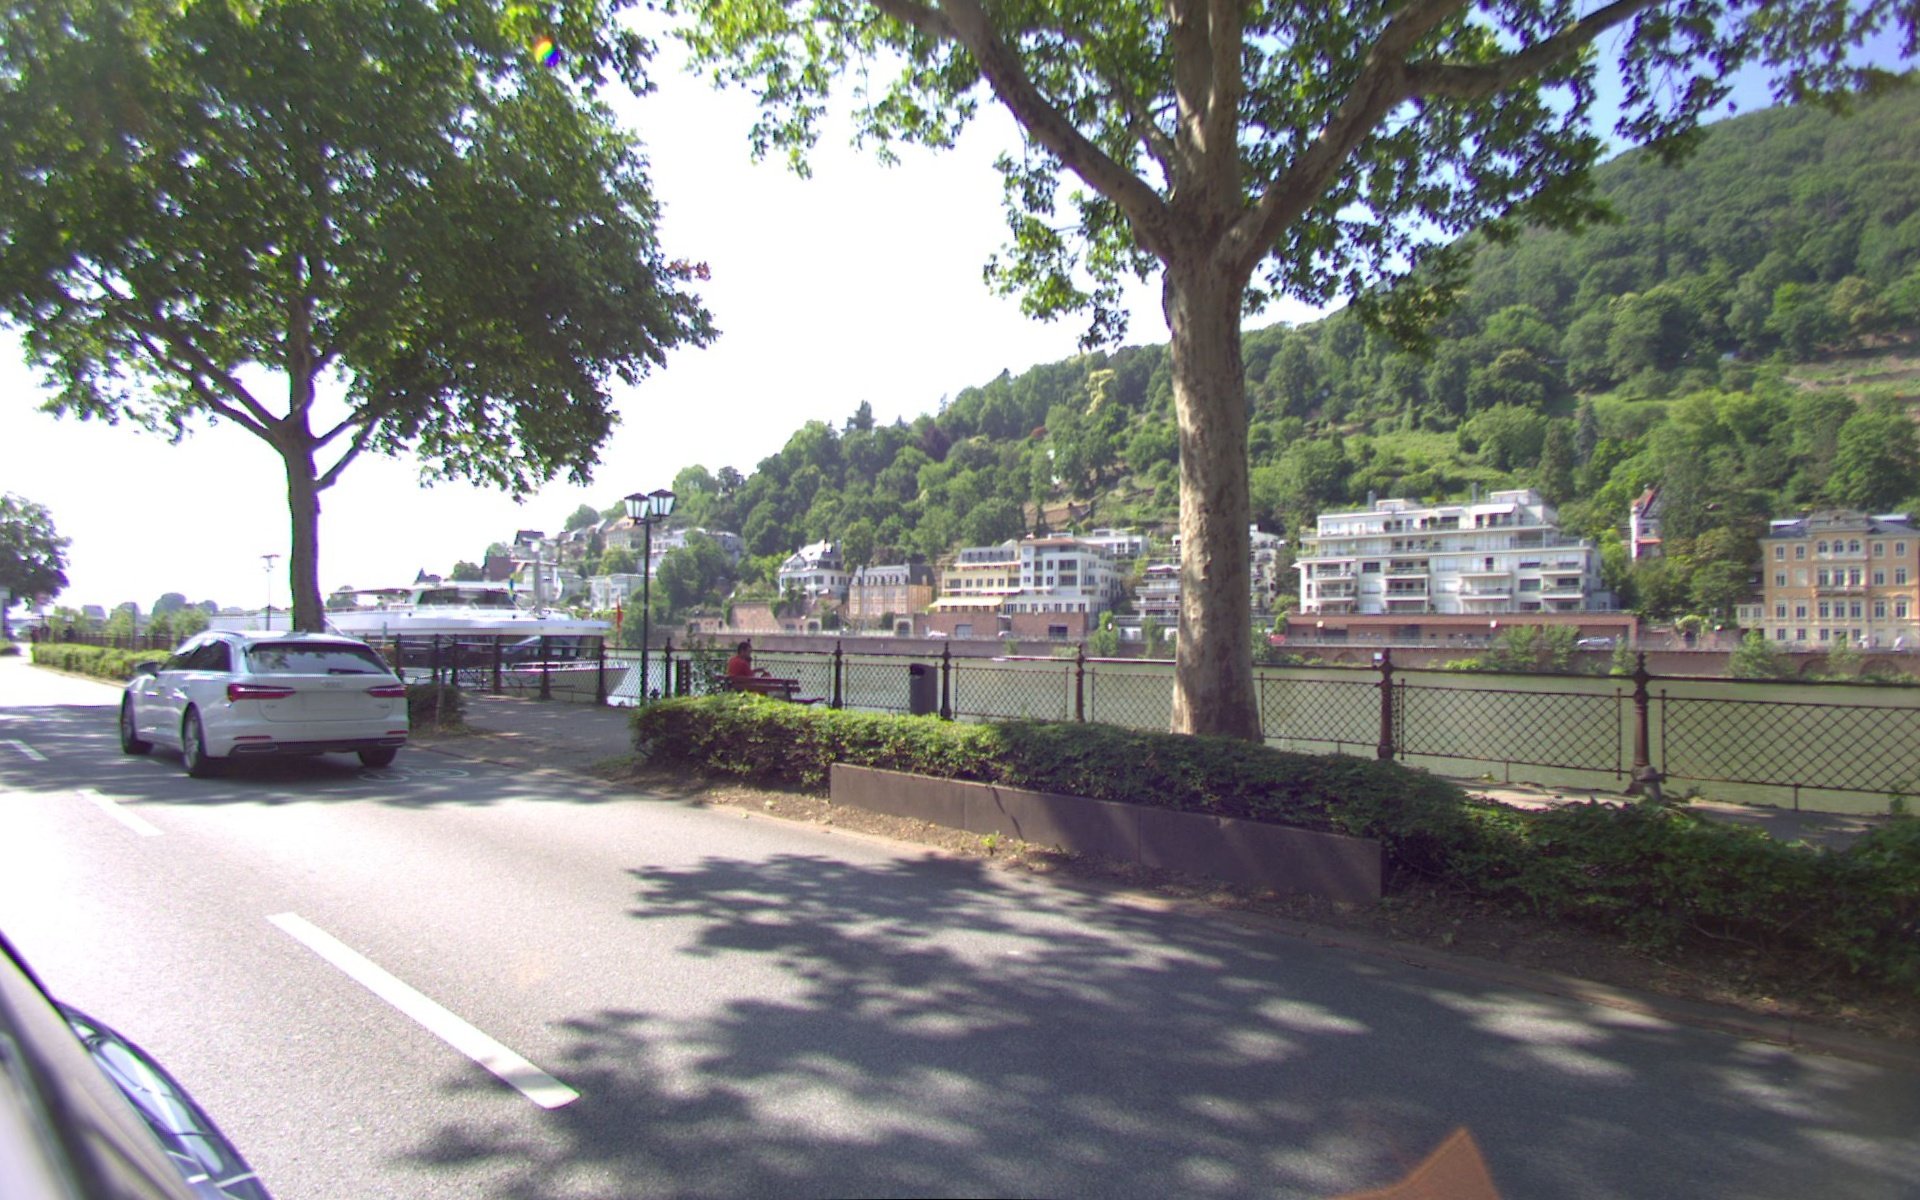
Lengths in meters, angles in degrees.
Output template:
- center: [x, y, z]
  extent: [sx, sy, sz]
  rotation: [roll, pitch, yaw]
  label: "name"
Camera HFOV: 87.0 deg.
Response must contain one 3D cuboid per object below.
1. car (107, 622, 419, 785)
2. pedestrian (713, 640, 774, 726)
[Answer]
- center: [-7.915, 1.029, 11.317]
  extent: [4.531, 1.468, 1.751]
  rotation: [-2, -4, 41]
  label: "car"
- center: [-3.488, 1.321, 16.321]
  extent: [0.656, 1.318, 0.695]
  rotation: [-1, -1, 42]
  label: "pedestrian"
